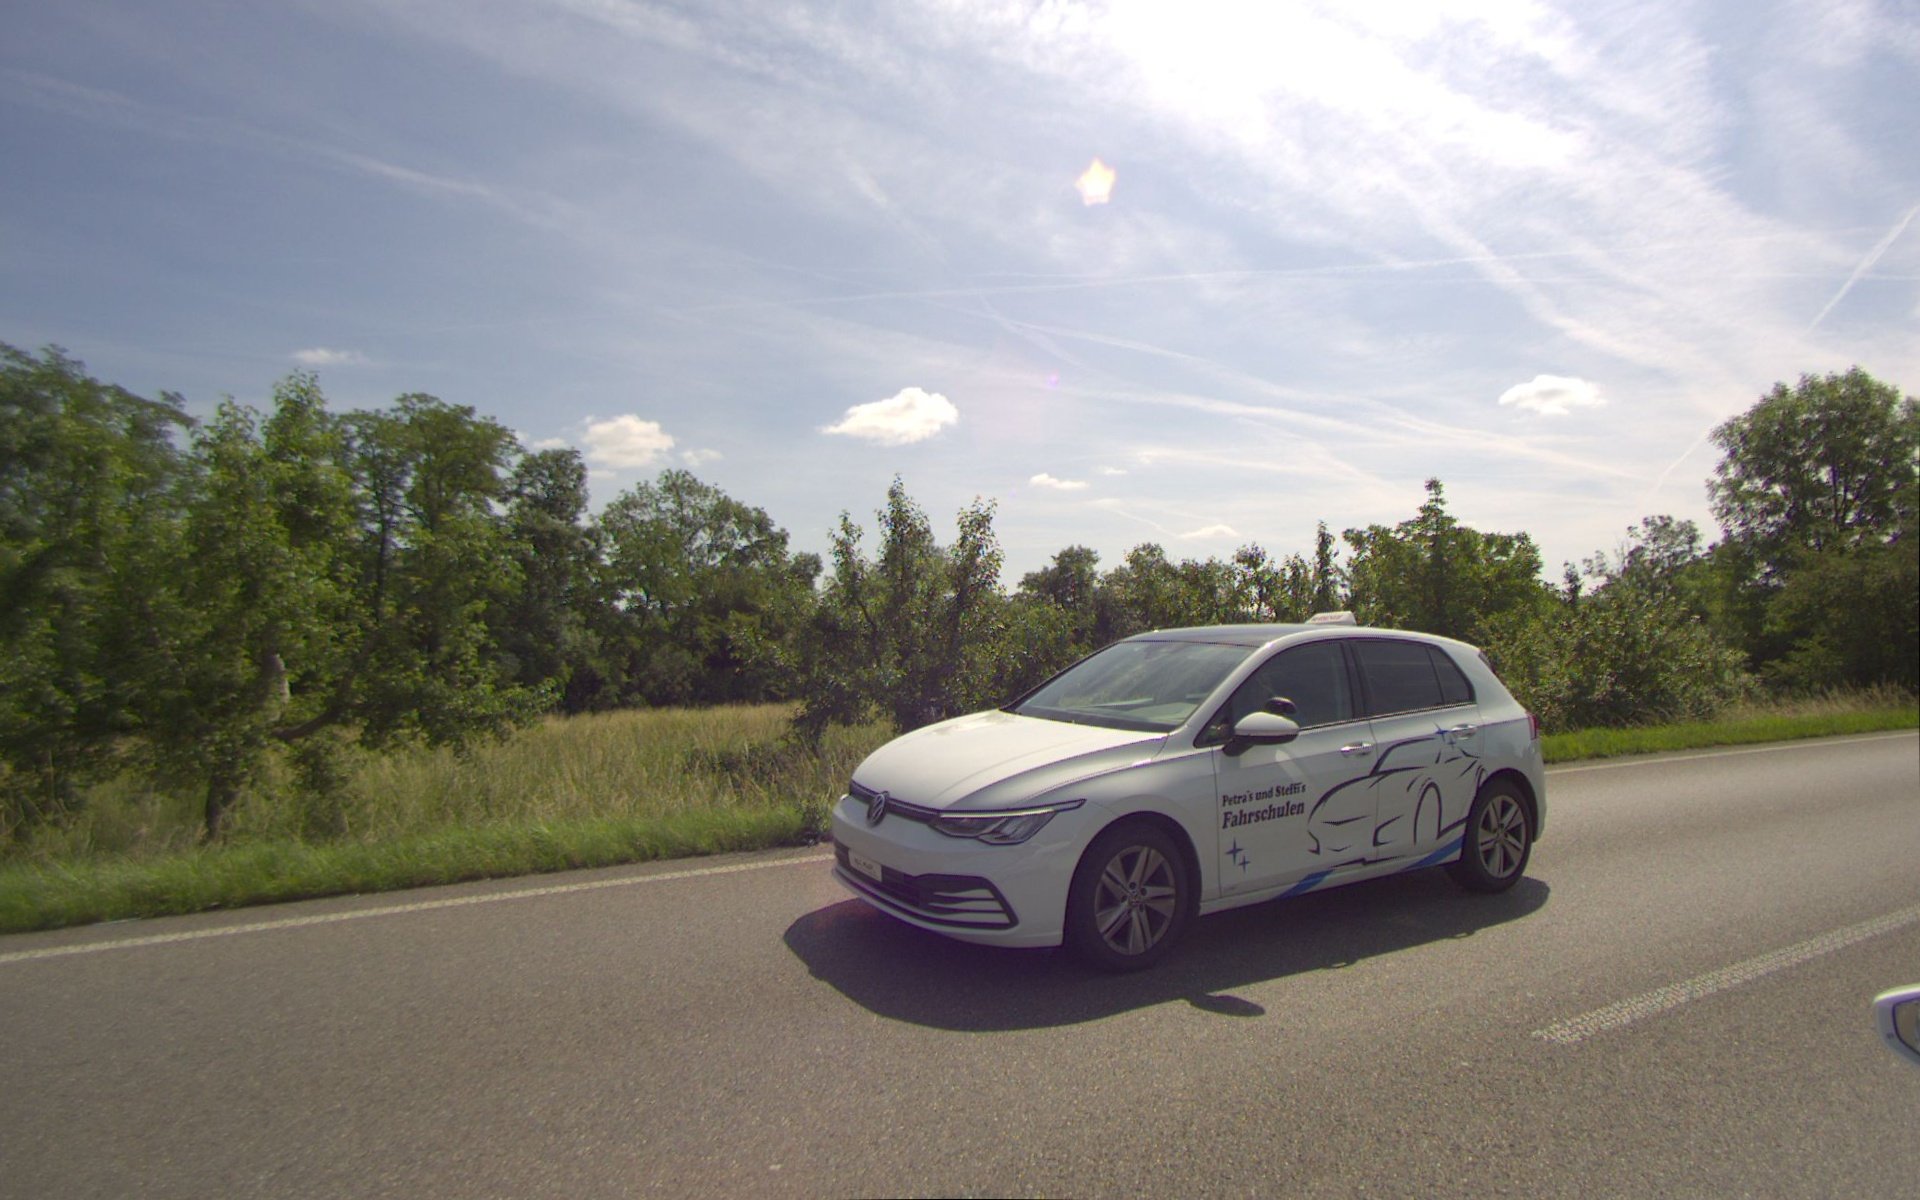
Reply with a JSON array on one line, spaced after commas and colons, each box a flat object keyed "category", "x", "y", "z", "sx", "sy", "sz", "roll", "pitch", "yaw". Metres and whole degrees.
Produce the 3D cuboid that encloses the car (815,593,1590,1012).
[{"category": "car", "x": 1.455, "y": 0.793, "z": 5.543, "sx": 4.112, "sy": 1.542, "sz": 1.782, "roll": 1, "pitch": -1, "yaw": -31}]
